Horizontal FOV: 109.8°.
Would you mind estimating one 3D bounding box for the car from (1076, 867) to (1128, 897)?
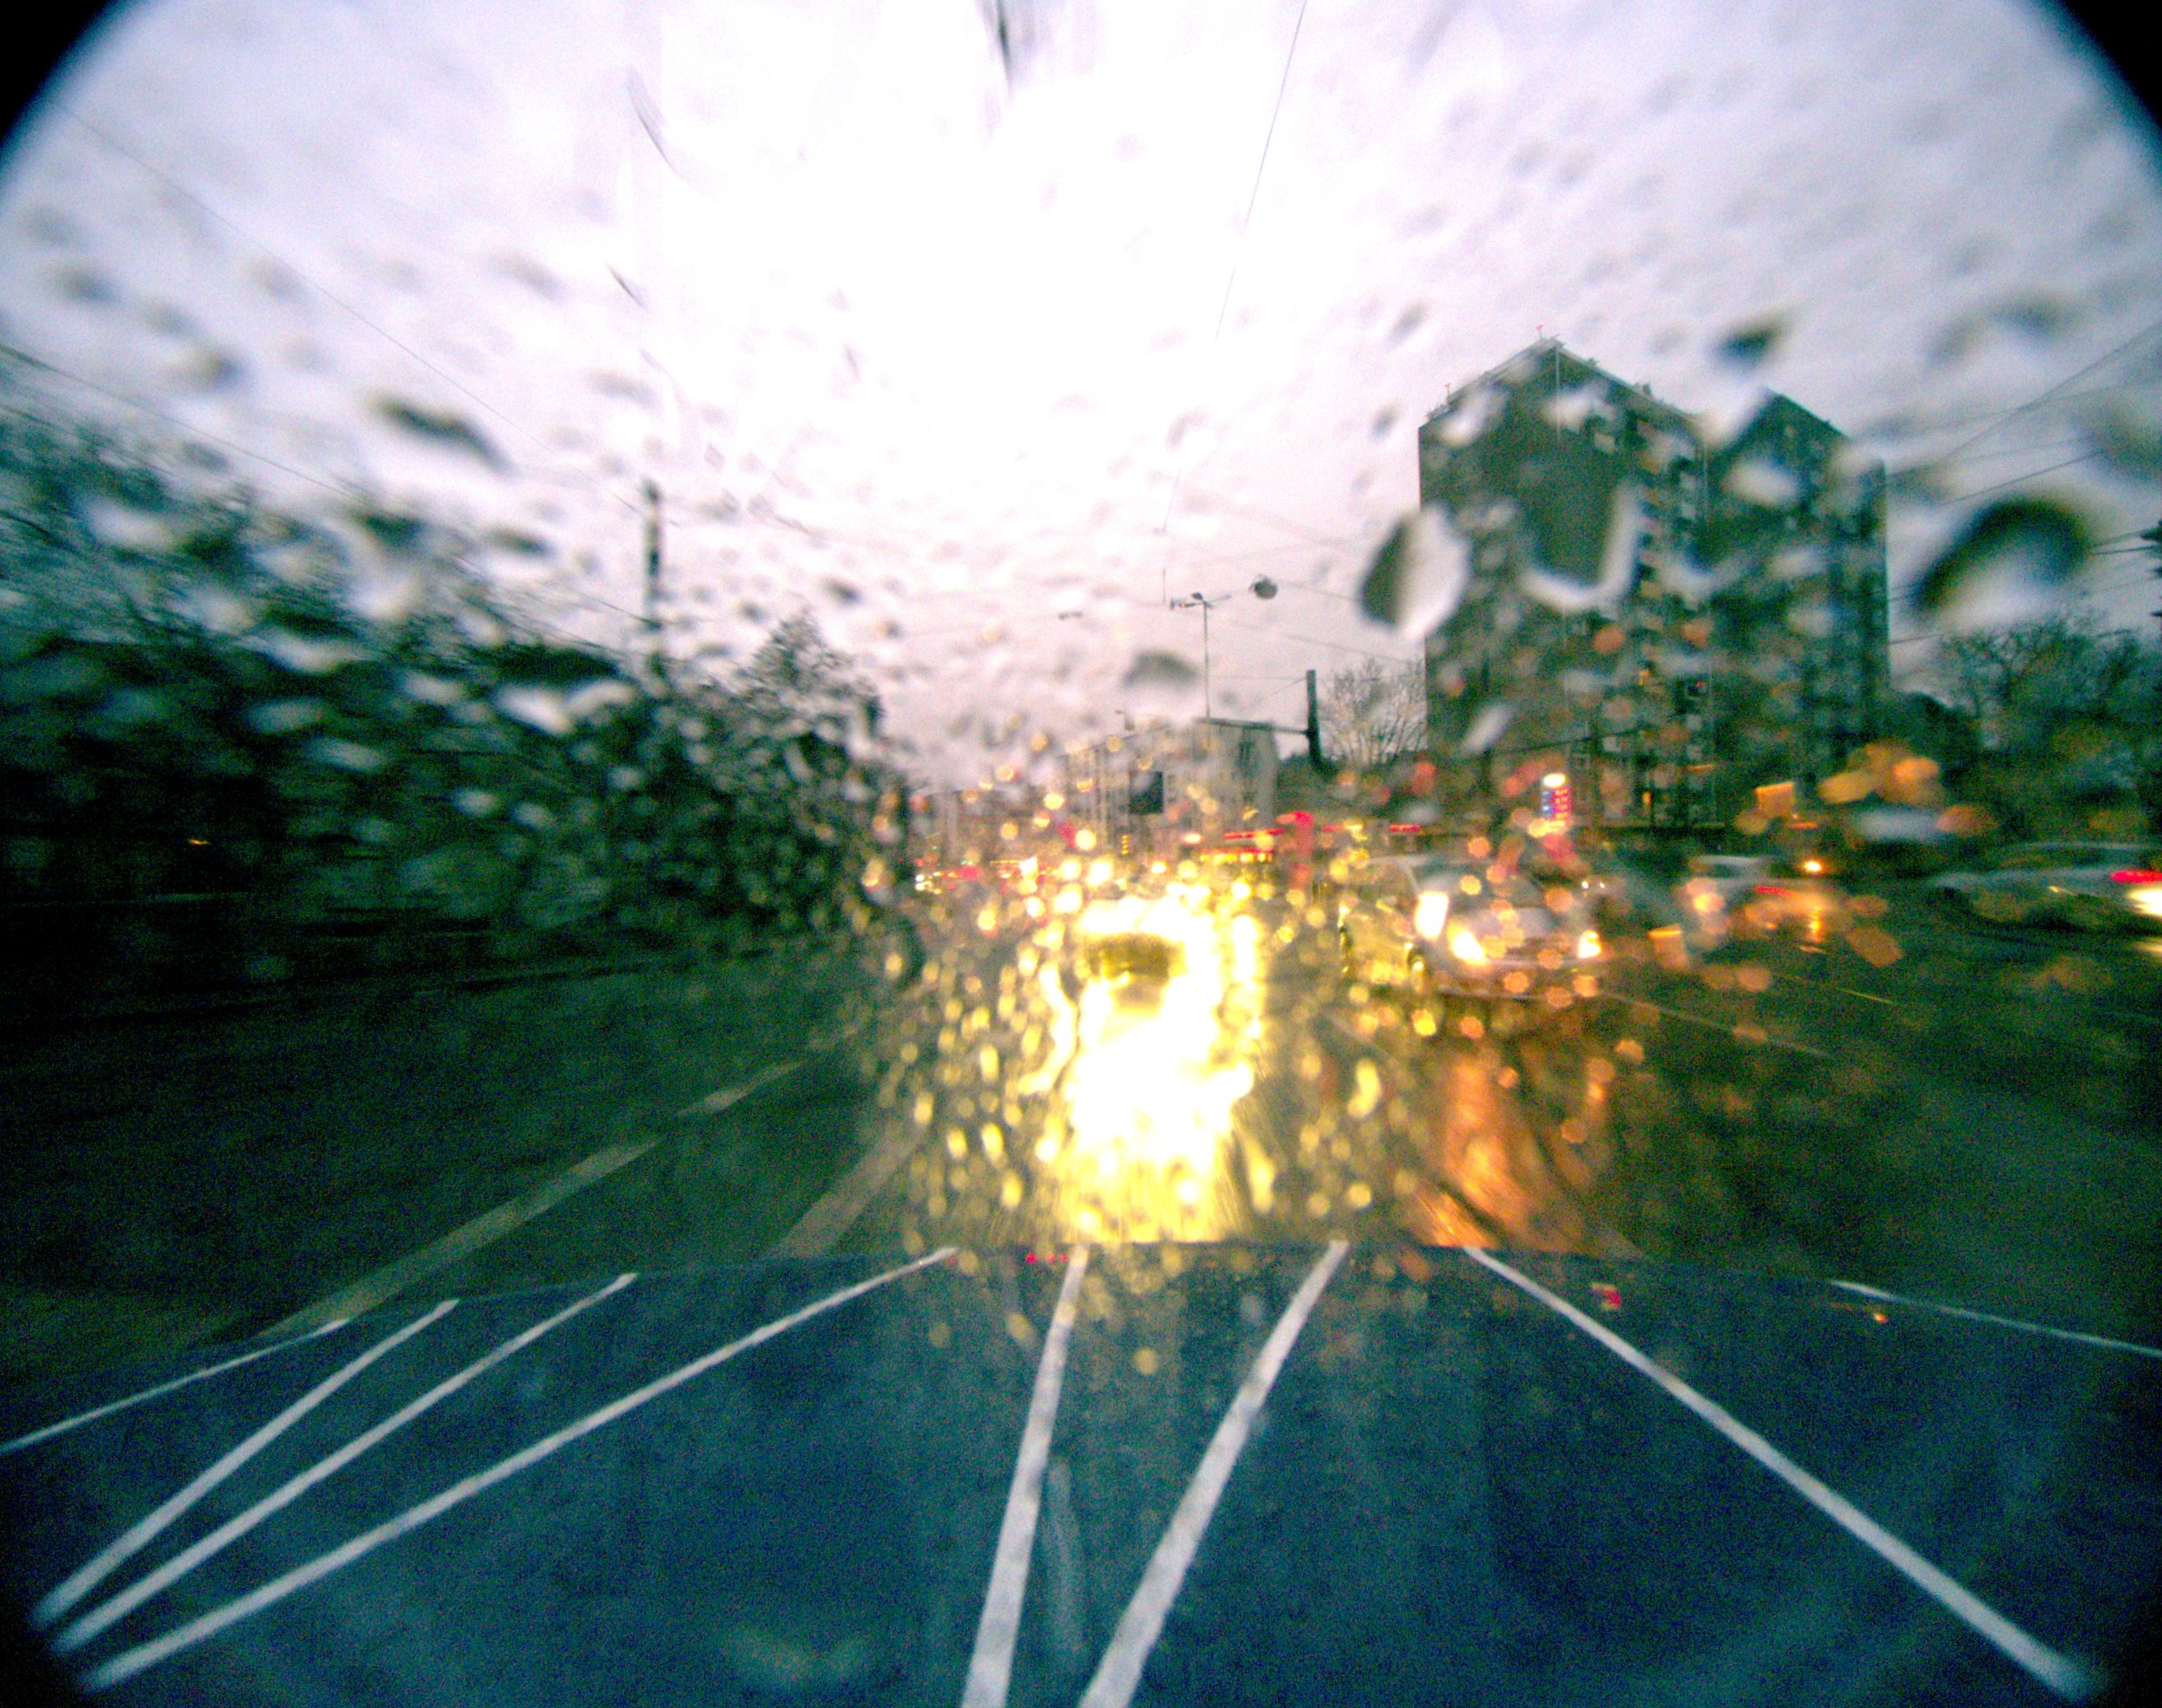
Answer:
[{"bbox_3d":[1.224,1.674,46.611,1.822,1.732,4.180,0,-1,-19],"label":"car"}]

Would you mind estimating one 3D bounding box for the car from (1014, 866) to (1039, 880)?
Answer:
[{"bbox_3d":[-6.221,2.194,86.704,1.653,1.478,3.993,0,-1,-23],"label":"car"}]

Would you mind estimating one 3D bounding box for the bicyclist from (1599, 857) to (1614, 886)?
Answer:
[{"bbox_3d":[25.212,0.829,36.464,0.505,1.382,0.971,-2,0,37],"label":"bicyclist"}]

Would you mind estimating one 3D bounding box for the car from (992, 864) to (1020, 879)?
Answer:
[{"bbox_3d":[-9.261,2.122,93.560,1.971,1.772,4.525,0,-1,-26],"label":"car"}]

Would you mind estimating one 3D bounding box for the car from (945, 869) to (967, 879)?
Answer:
[{"bbox_3d":[-18.331,2.879,111.011,1.972,1.378,4.525,0,-1,-26],"label":"car"}]

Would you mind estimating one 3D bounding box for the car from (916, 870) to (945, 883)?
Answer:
[{"bbox_3d":[-16.891,2.489,85.146,1.972,1.378,4.525,0,-1,-26],"label":"car"}]

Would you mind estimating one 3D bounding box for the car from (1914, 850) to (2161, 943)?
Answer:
[{"bbox_3d":[18.834,0.701,14.472,1.683,1.516,4.231,-1,0,8],"label":"car"}]

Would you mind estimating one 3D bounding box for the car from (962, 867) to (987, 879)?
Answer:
[{"bbox_3d":[-14.497,2.584,103.230,1.972,1.505,4.525,0,-1,-26],"label":"car"}]

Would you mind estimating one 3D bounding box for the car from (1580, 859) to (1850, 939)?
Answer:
[{"bbox_3d":[13.323,0.867,16.386,1.686,1.448,4.330,-1,0,-13],"label":"car"}]

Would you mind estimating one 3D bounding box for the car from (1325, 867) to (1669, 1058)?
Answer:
[{"bbox_3d":[4.186,0.960,8.494,1.649,1.539,4.110,-2,0,2],"label":"car"}]

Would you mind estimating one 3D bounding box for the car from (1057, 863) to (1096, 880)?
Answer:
[{"bbox_3d":[-0.402,1.505,66.744,1.652,1.441,3.842,-2,0,-30],"label":"car"}]

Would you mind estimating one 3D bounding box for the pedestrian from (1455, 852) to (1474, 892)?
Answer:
[{"bbox_3d":[16.936,0.797,33.568,0.468,1.761,0.628,-2,0,-4],"label":"pedestrian"}]

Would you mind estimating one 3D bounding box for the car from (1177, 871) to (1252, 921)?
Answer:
[{"bbox_3d":[4.382,1.338,25.526,1.753,1.534,4.000,-1,-1,-1],"label":"car"}]

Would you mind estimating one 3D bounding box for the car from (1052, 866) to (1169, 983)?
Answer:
[{"bbox_3d":[0.529,1.054,12.874,1.649,1.575,3.805,-2,0,3],"label":"car"}]

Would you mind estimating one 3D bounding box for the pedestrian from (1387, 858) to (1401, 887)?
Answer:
[{"bbox_3d":[20.039,1.179,48.595,0.629,1.782,0.531,-2,0,-38],"label":"pedestrian"}]

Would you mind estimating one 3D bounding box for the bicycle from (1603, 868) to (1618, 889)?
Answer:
[{"bbox_3d":[25.162,1.146,36.095,0.505,0.894,1.989,-2,-1,37],"label":"bicycle"}]

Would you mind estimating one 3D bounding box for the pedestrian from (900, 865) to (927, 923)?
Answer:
[{"bbox_3d":[-5.505,1.308,24.984,0.574,1.827,0.683,4,-2,2],"label":"pedestrian"}]

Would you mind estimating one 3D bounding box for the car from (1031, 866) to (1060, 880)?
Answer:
[{"bbox_3d":[-3.795,2.024,80.535,1.653,1.478,4.137,0,-1,-23],"label":"car"}]

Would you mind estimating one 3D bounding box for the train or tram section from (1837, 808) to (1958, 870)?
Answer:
[{"bbox_3d":[47.615,-0.927,44.151,11.169,3.218,3.161,-2,0,-35],"label":"train or tram section"}]

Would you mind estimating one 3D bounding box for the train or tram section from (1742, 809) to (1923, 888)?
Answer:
[{"bbox_3d":[36.330,-0.439,36.319,16.336,3.170,3.161,-2,0,-35],"label":"train or tram section"}]

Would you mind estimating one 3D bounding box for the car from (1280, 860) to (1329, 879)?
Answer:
[{"bbox_3d":[19.070,1.306,64.792,4.007,1.521,1.775,-1,-1,-32],"label":"car"}]

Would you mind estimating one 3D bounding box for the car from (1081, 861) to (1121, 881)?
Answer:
[{"bbox_3d":[1.961,1.728,76.421,2.003,1.934,4.845,1,-1,-24],"label":"car"}]
